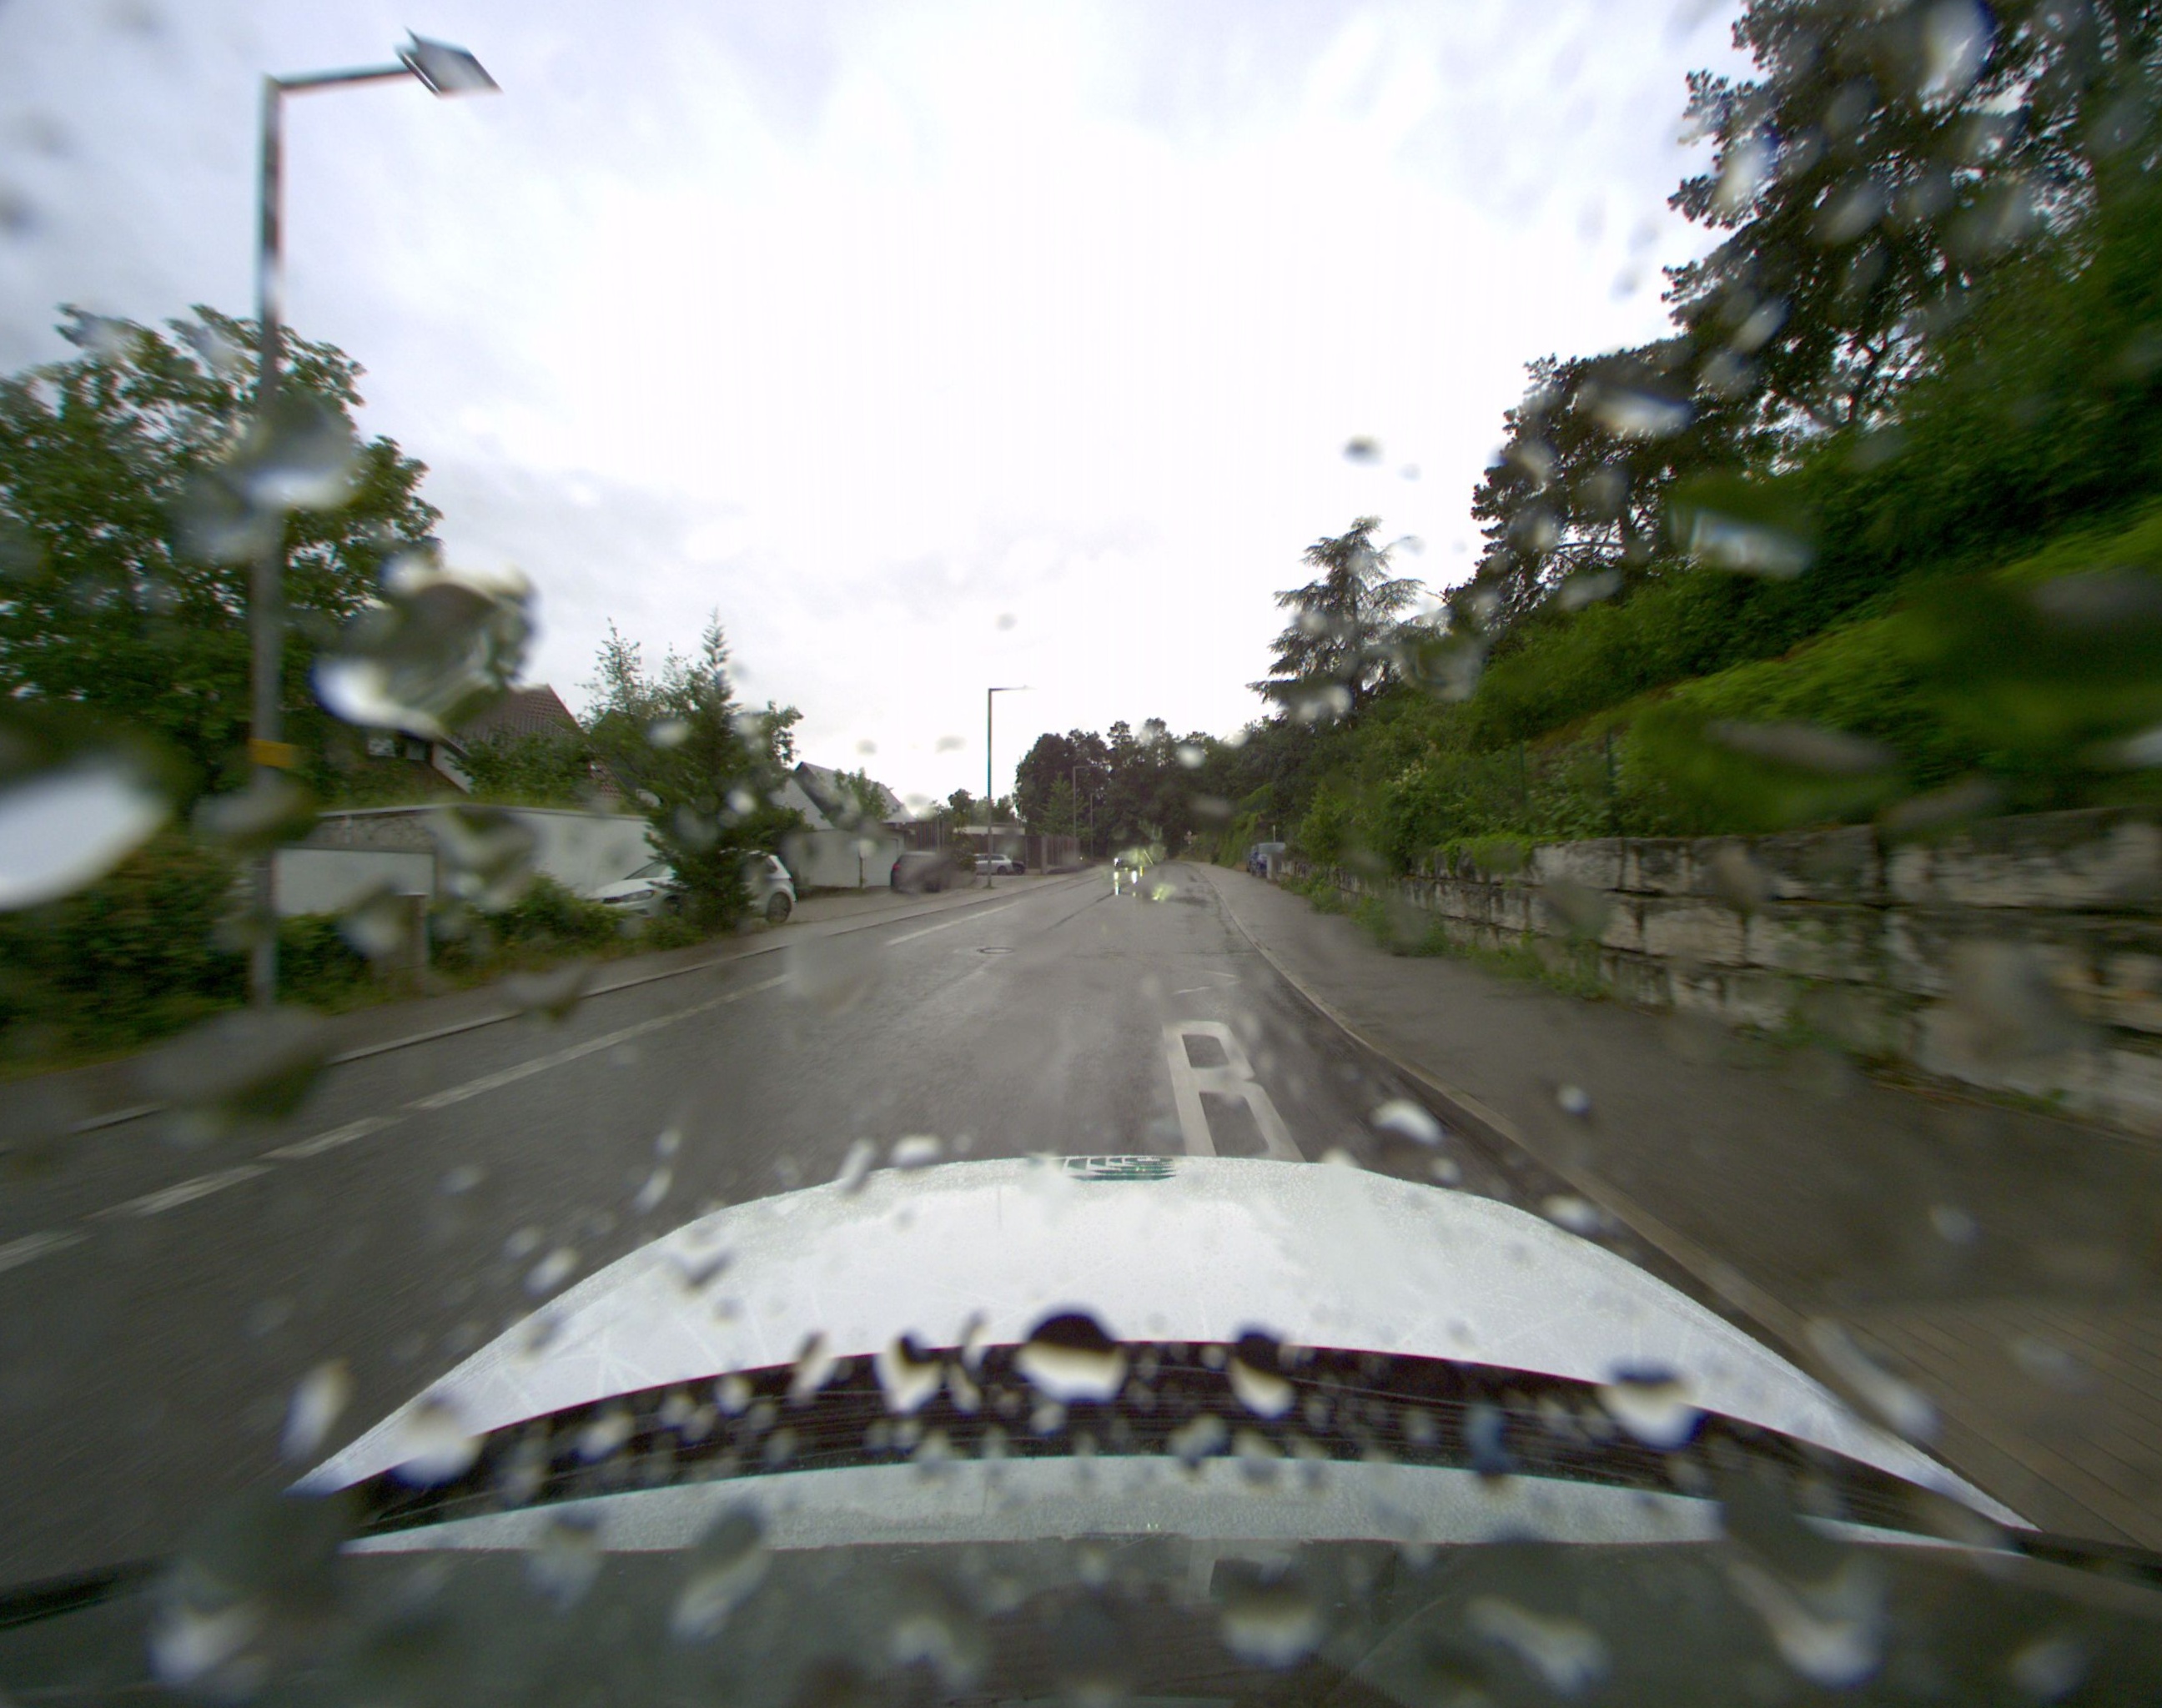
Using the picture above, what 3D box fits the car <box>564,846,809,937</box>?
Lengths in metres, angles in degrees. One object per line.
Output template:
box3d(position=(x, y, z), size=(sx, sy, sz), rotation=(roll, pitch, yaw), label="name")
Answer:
box3d(position=(-7.608, 0.625, 16.241), size=(1.690, 1.553, 4.411), rotation=(0, 0, 21), label="car")

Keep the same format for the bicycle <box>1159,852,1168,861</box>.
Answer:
box3d(position=(10.811, 0.315, 106.531), size=(0.528, 1.085, 1.611), rotation=(0, 0, -17), label="bicycle")

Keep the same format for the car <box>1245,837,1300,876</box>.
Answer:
box3d(position=(9.424, 0.101, 40.419), size=(1.984, 1.670, 4.551), rotation=(-4, 0, 5), label="car")

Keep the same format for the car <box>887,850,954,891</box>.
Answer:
box3d(position=(-5.963, 0.575, 30.725), size=(1.829, 1.405, 4.256), rotation=(0, 0, -2), label="car")

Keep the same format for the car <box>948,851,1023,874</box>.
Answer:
box3d(position=(-6.227, 0.552, 53.097), size=(4.550, 1.442, 1.743), rotation=(0, 0, -33), label="car")

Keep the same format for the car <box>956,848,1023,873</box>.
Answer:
box3d(position=(-6.300, 0.428, 56.168), size=(4.304, 1.600, 1.821), rotation=(0, 0, -28), label="car")

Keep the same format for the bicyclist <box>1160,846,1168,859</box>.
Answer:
box3d(position=(10.804, -0.201, 106.556), size=(0.722, 1.615, 0.900), rotation=(0, 0, -17), label="bicyclist")

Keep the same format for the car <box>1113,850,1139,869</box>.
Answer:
box3d(position=(3.717, 0.436, 66.941), size=(1.841, 1.469, 3.707), rotation=(0, 0, 7), label="car")

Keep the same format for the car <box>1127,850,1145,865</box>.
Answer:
box3d(position=(5.738, 0.365, 85.018), size=(1.839, 1.460, 4.272), rotation=(0, 0, 3), label="car")
